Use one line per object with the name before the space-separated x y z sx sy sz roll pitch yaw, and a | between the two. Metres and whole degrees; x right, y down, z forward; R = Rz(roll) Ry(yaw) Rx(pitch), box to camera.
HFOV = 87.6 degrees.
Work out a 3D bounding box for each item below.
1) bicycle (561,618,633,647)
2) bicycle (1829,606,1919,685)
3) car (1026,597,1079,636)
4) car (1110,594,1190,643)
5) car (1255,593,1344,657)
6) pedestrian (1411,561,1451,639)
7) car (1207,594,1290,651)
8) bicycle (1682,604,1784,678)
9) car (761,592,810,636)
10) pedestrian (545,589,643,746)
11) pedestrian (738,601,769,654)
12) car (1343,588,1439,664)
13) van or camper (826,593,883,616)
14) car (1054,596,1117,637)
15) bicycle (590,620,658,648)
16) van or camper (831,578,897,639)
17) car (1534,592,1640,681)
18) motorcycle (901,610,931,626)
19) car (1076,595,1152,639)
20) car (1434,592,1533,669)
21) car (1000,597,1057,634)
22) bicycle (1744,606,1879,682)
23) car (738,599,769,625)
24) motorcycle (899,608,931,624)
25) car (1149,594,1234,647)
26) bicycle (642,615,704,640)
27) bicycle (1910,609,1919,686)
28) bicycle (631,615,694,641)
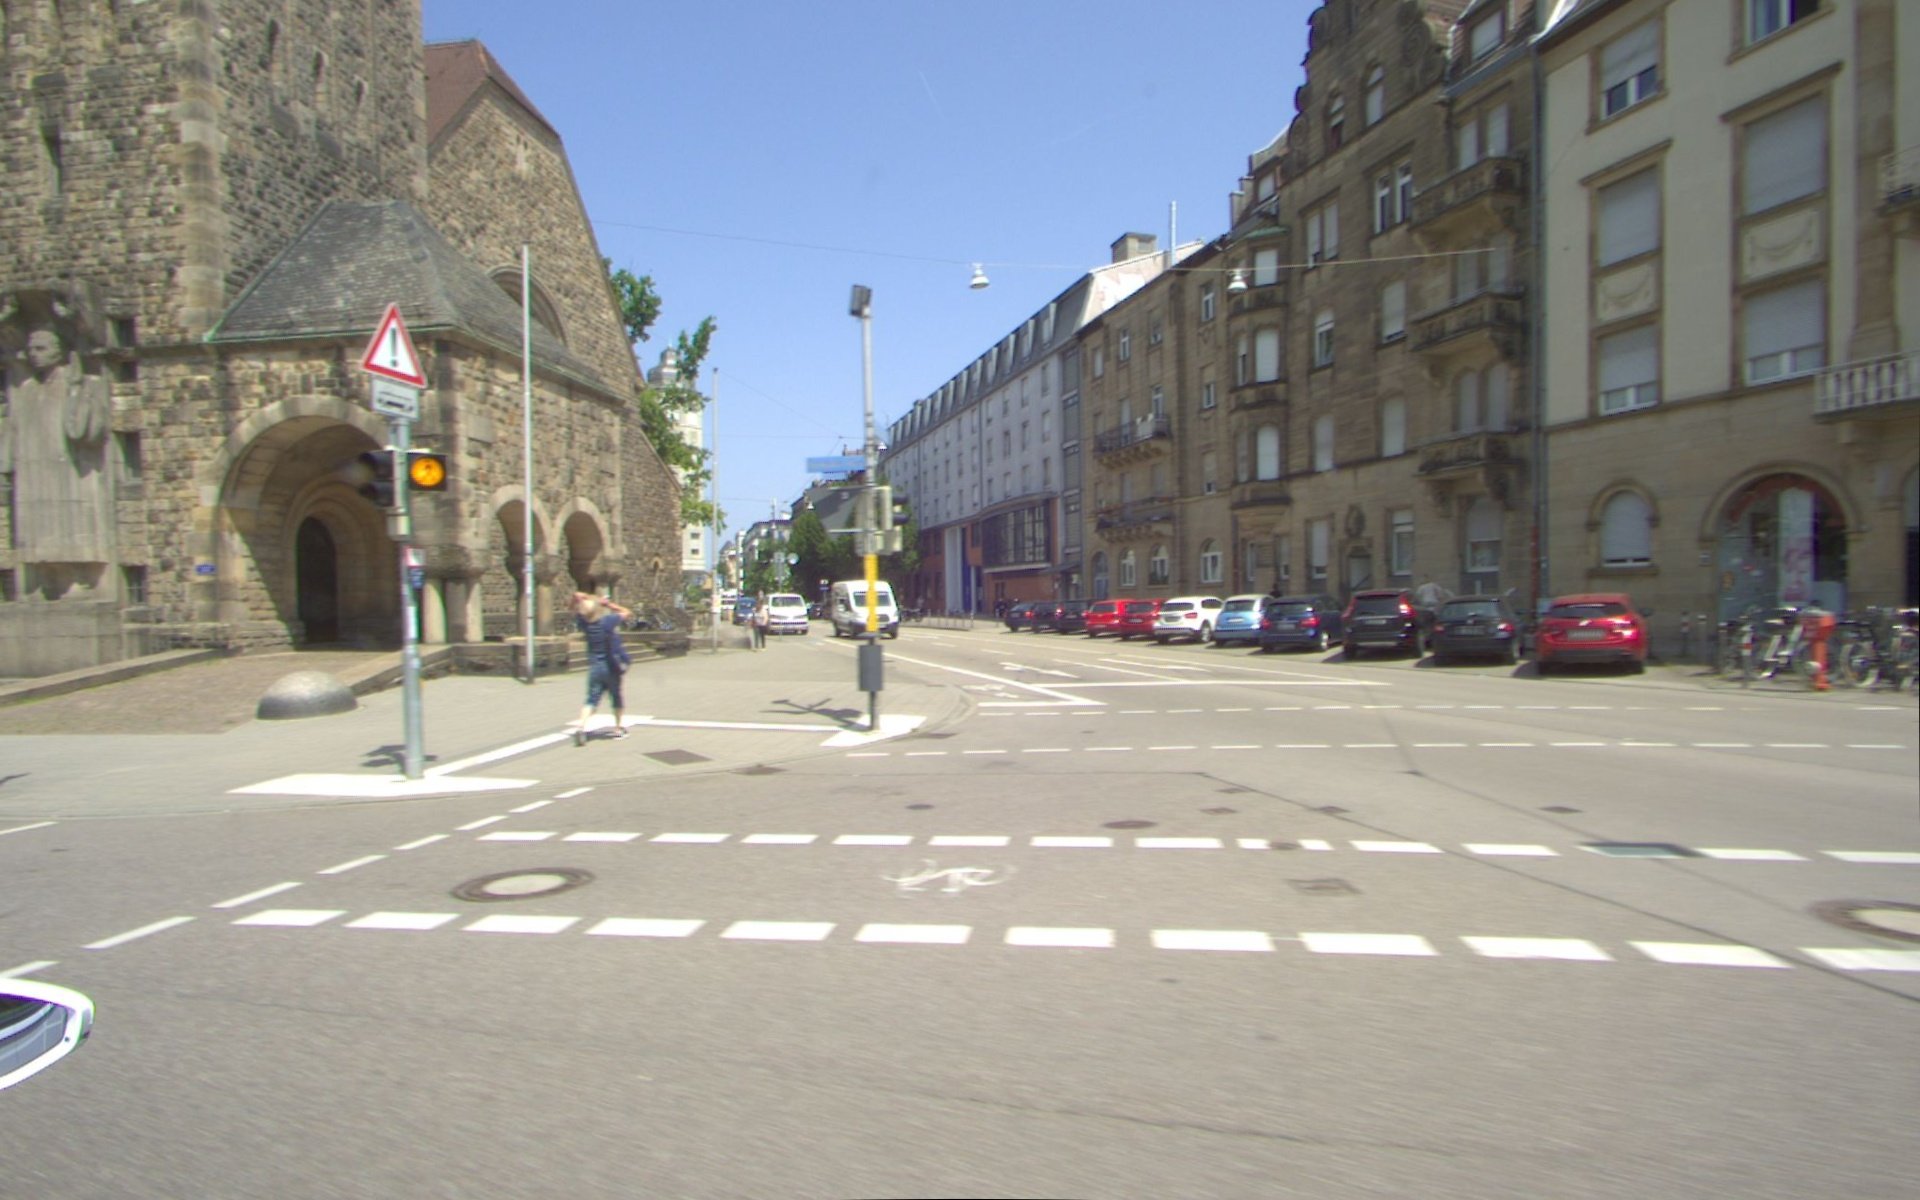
bicycle | -13.354 1.181 36.877 2.451 1.025 0.706 -1 1 10
bicycle | 14.880 0.700 15.852 1.770 1.166 0.565 -2 0 -3
car | 4.288 0.732 46.055 1.472 1.595 3.216 -3 0 23
car | 7.122 0.674 37.447 1.597 1.595 3.202 -3 0 38
car | 9.794 0.691 28.756 1.595 1.595 3.207 -3 0 34
pedestrian | 13.362 0.000 28.438 0.851 2.142 1.099 0 1 14
car | 9.238 0.687 31.931 1.595 1.595 3.207 -3 0 34
bicycle | 13.405 0.694 17.356 1.775 1.166 0.563 -2 0 -22
car | -8.702 0.676 49.580 2.008 2.031 4.961 -1 0 -14
pedestrian | -4.445 0.801 12.203 0.818 1.846 0.744 -1 0 15
pedestrian | -6.242 0.824 30.297 0.707 1.579 0.792 -1 0 1
car | 10.838 0.627 25.070 1.595 1.687 3.207 -3 0 34
van or camper | -8.519 0.351 80.894 4.283 1.862 1.981 -1 0 -43
car | 5.535 0.698 43.778 1.593 1.595 3.211 -3 0 29
bicycle | -13.176 1.330 39.267 2.451 1.025 0.706 -1 1 10
van or camper | -4.285 0.344 43.875 2.036 2.494 5.893 -1 0 -14
car | 12.300 0.675 19.613 1.595 1.498 3.207 -3 0 34
motorcycle | -3.036 1.230 68.935 2.037 0.972 0.607 -1 3 0
car | 6.232 0.670 40.332 1.597 1.595 3.202 -3 0 38
car | 11.749 0.640 22.375 1.595 1.498 3.207 -3 0 34
car | 3.375 0.730 48.885 1.592 1.595 3.213 -3 0 27
bicycle | 14.113 0.721 16.612 1.770 1.166 0.565 -2 0 -3
car | -14.288 0.837 69.417 1.962 1.750 3.998 -1 0 -10
motorcycle | -2.999 1.066 66.775 2.037 0.972 0.742 -1 3 0
car | 8.003 0.689 34.459 1.597 1.595 3.202 -3 0 38
bicycle | -12.227 1.155 42.693 2.451 1.025 0.706 -1 1 10
bicycle | 15.395 0.682 15.034 1.770 1.166 0.565 -2 0 -3
bicycle | -12.339 1.166 41.555 2.451 1.025 0.706 -1 1 10
